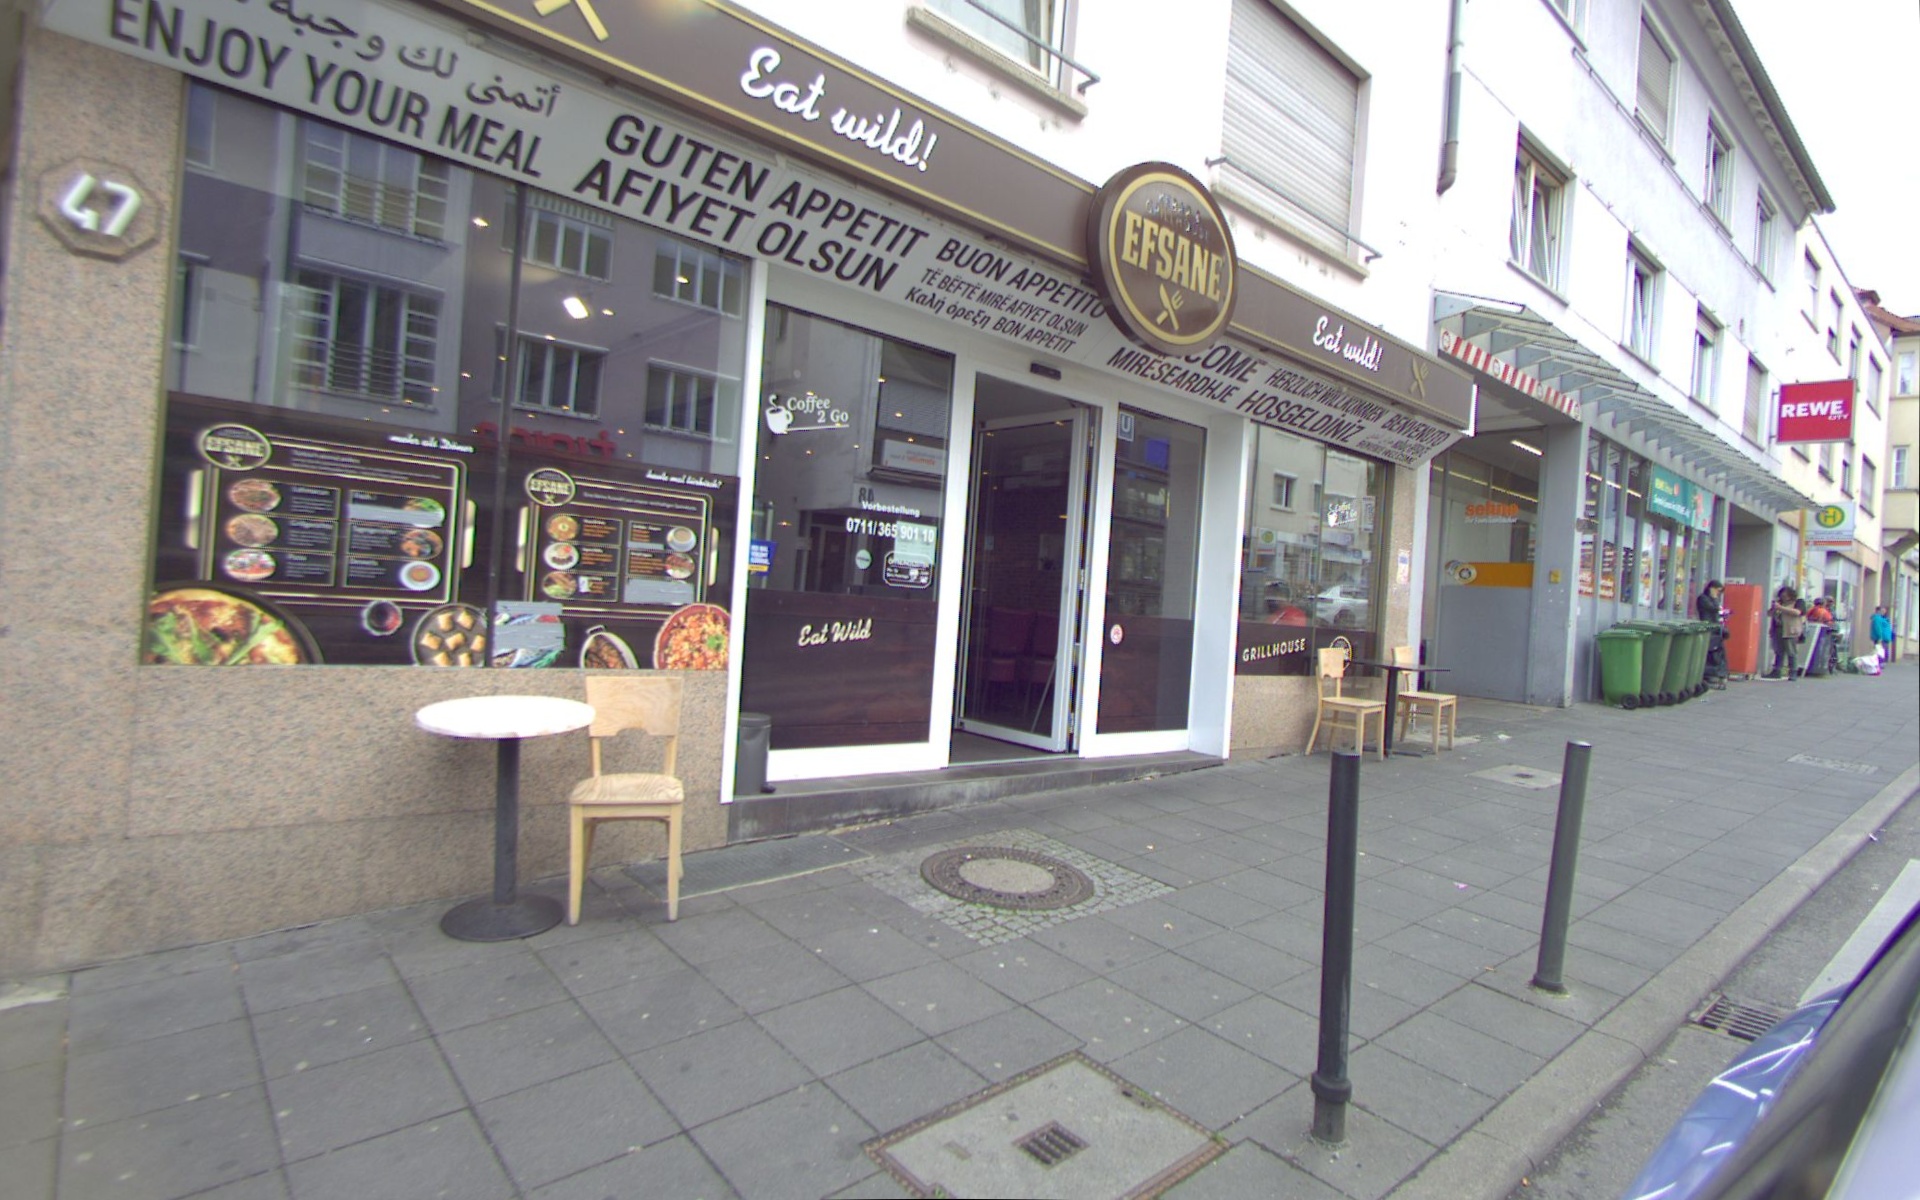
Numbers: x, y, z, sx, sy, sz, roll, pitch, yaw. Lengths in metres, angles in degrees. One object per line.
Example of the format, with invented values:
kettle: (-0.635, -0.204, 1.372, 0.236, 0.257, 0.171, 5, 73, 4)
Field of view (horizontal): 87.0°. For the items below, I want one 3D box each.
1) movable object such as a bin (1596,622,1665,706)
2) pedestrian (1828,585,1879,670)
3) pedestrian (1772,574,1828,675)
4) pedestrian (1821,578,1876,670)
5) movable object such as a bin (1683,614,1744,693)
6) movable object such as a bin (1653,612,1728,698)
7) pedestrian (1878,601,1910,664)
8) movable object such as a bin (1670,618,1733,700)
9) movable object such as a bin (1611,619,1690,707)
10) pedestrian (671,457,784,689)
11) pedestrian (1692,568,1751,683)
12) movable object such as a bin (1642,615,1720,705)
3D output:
movable object such as a bin: (8.292, 0.772, 12.520, 0.490, 0.968, 0.568, 1, 2, -41)
pedestrian: (18.748, 0.554, 21.240, 0.599, 1.747, 0.624, 0, 0, 19)
pedestrian: (15.126, 0.422, 18.230, 0.626, 1.746, 0.597, 5, 4, 44)
pedestrian: (18.078, 0.477, 20.599, 0.618, 1.845, 0.604, 0, 0, 15)
movable object such as a bin: (10.775, 0.753, 14.475, 0.549, 1.070, 0.559, 1, 2, -41)
movable object such as a bin: (9.868, 0.727, 13.679, 0.648, 1.094, 0.652, 1, 2, -41)
pedestrian: (25.081, 0.869, 27.181, 0.625, 1.650, 0.597, 0, 0, 44)
movable object such as a bin: (10.335, 0.801, 14.106, 0.564, 1.072, 0.569, 1, 2, -41)
movable object such as a bin: (8.766, 0.781, 12.854, 0.550, 1.043, 0.670, 1, 2, -41)
pedestrian: (-1.840, -0.213, 8.040, 0.621, 1.747, 0.601, 1, 0, 26)
pedestrian: (11.821, 0.383, 15.736, 0.621, 1.747, 0.601, 0, 0, 26)
movable object such as a bin: (9.362, 0.762, 13.146, 0.661, 1.094, 0.652, 1, 2, -41)
